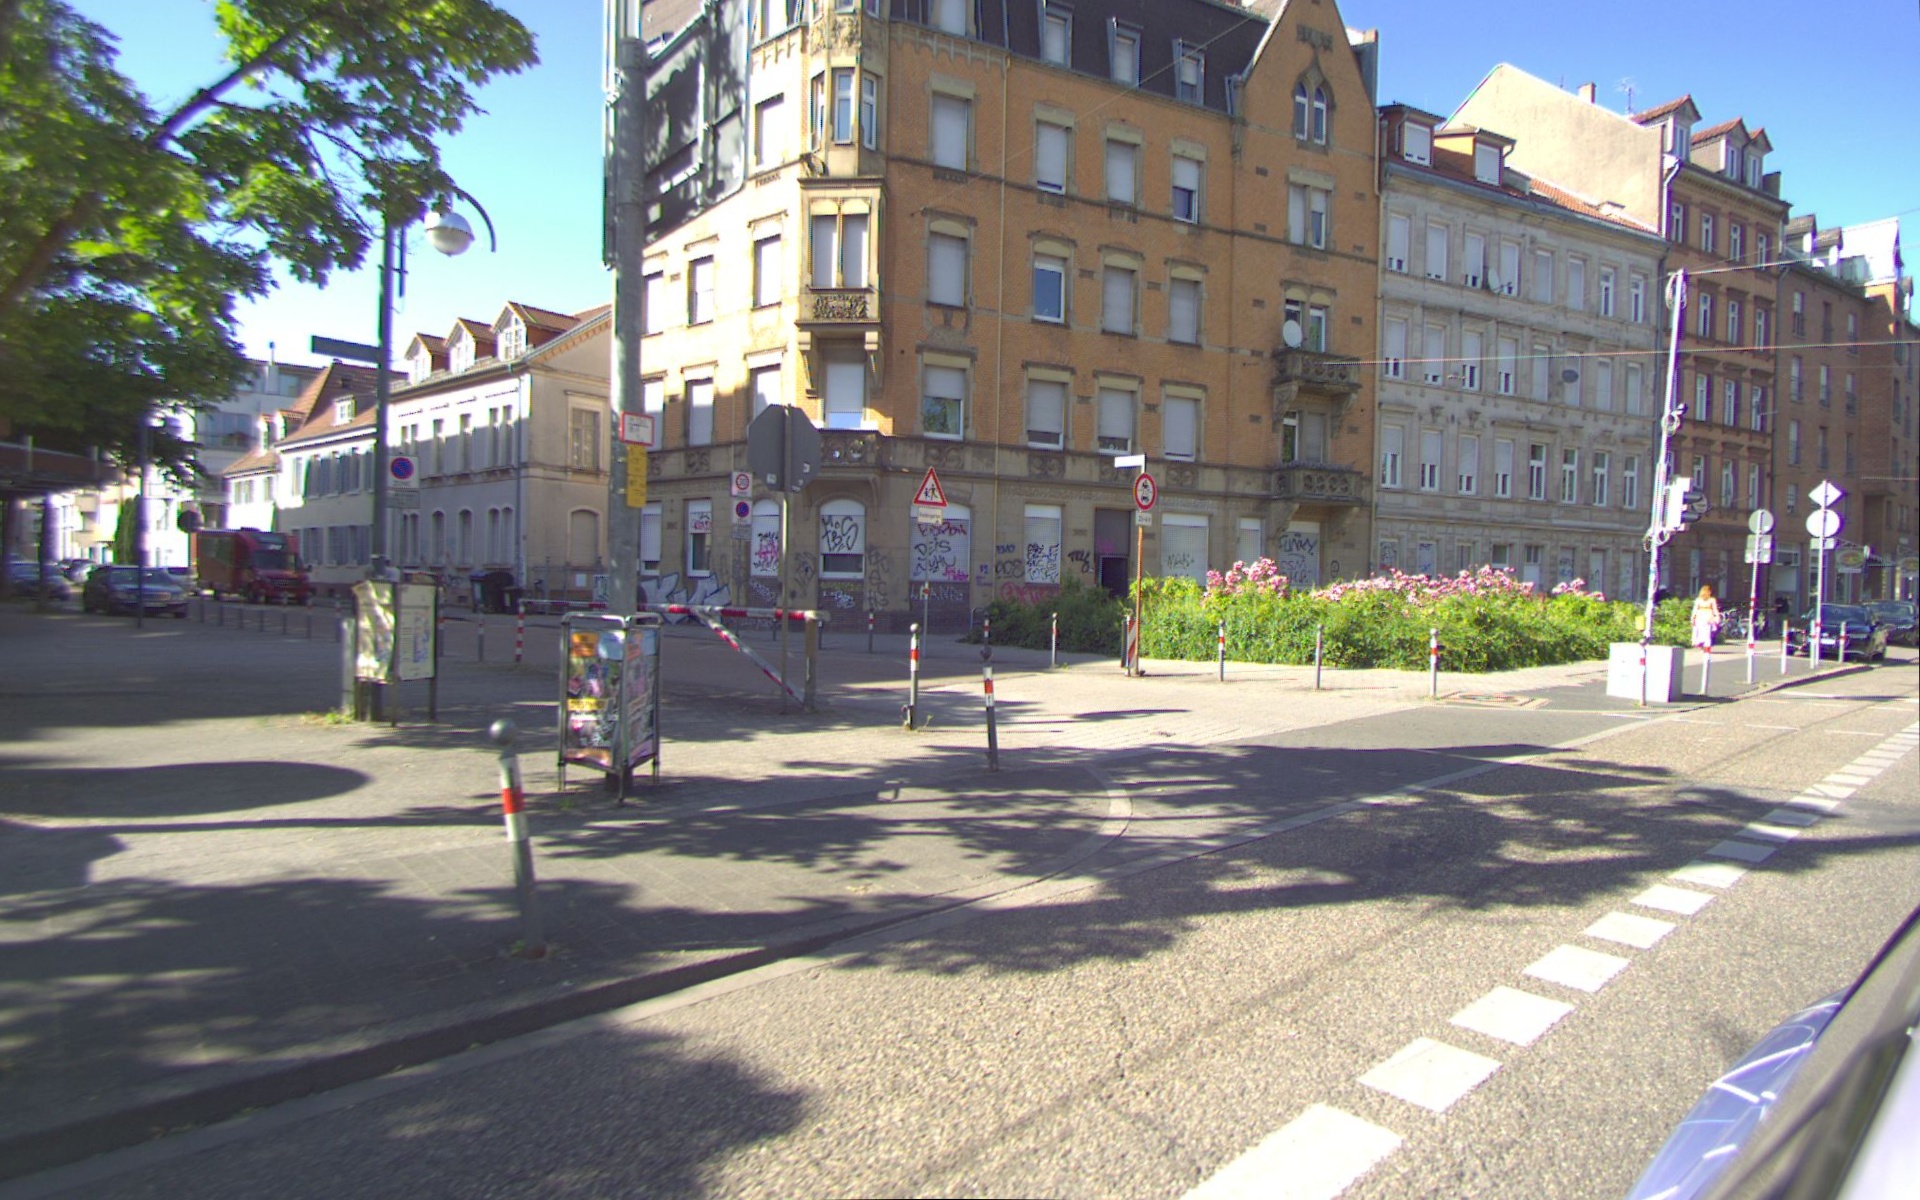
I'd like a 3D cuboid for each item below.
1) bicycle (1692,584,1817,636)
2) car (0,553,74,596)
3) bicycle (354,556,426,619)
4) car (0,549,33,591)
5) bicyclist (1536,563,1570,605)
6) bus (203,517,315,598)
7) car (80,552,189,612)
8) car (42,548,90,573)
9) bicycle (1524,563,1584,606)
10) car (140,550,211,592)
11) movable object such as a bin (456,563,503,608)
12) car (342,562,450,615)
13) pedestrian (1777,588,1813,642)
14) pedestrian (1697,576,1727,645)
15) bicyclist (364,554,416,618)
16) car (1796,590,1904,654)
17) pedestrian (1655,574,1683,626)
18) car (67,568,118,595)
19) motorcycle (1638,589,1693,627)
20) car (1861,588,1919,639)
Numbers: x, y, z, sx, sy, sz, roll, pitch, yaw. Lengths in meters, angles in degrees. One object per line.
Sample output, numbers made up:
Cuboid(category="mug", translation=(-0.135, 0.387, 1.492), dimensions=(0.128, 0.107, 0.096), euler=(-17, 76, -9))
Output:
Cuboid(category="bicycle", translation=(26.447, 0.281, 33.571), dimensions=(6.708, 1.433, 1.969), euler=(0, 4, -41))
Cuboid(category="car", translation=(-36.510, -1.023, 39.768), dimensions=(3.982, 1.571, 1.971), euler=(3, 2, 40))
Cuboid(category="bicycle", translation=(-15.884, -0.367, 28.176), dimensions=(2.129, 1.701, 0.996), euler=(2, 1, 37))
Cuboid(category="car", translation=(-43.022, -1.356, 45.132), dimensions=(3.982, 1.816, 1.971), euler=(3, 1, 40))
Cuboid(category="bicyclist", translation=(18.683, -0.501, 31.891), dimensions=(0.847, 1.302, 0.693), euler=(0, 1, -42))
Cuboid(category="bus", translation=(-28.941, -1.725, 41.674), dimensions=(6.242, 3.105, 2.387), euler=(2, 2, 42))
Cuboid(category="car", translation=(-23.893, -0.553, 29.250), dimensions=(3.984, 1.593, 1.823), euler=(3, 2, 41))
Cuboid(category="car", translation=(-57.366, -2.535, 64.920), dimensions=(3.979, 1.563, 1.613), euler=(2, 1, 38))
Cuboid(category="bicycle", translation=(18.776, -0.479, 31.976), dimensions=(2.198, 1.302, 0.955), euler=(0, 1, -41))
Cuboid(category="car", translation=(-39.172, -1.444, 50.511), dimensions=(3.981, 2.039, 1.972), euler=(2, 1, 39))
Cuboid(category="movable object such as a bin", translation=(-16.187, -0.502, 34.085), dimensions=(1.213, 1.462, 1.020), euler=(2, 1, 41))
Cuboid(category="car", translation=(-18.205, -0.405, 32.612), dimensions=(3.978, 1.563, 1.614), euler=(2, 1, 37))
Cuboid(category="pedestrian", translation=(32.470, 0.585, 39.360), dimensions=(1.345, 2.039, 0.844), euler=(0, 1, -41))
Cuboid(category="pedestrian", translation=(18.791, 0.245, 25.309), dimensions=(0.548, 1.697, 0.679), euler=(1, 1, 36))
Cuboid(category="bicyclist", translation=(-15.863, -0.397, 28.184), dimensions=(1.044, 1.746, 0.908), euler=(2, 1, 36))
Cuboid(category="car", translation=(23.167, 0.514, 26.296), dimensions=(3.932, 1.502, 1.681), euler=(0, 2, -43))
Cuboid(category="pedestrian", translation=(25.962, -0.006, 37.061), dimensions=(0.816, 1.885, 0.695), euler=(2, 1, 36))
Cuboid(category="car", translation=(-52.494, -1.134, 61.228), dimensions=(3.979, 1.563, 1.613), euler=(2, 1, 38))
Cuboid(category="motorcycle", translation=(25.878, 0.292, 37.121), dimensions=(1.622, 1.332, 0.708), euler=(2, 1, 36))
Cuboid(category="car", translation=(32.865, 0.455, 35.047), dimensions=(4.393, 1.543, 1.765), euler=(0, 5, -40))
